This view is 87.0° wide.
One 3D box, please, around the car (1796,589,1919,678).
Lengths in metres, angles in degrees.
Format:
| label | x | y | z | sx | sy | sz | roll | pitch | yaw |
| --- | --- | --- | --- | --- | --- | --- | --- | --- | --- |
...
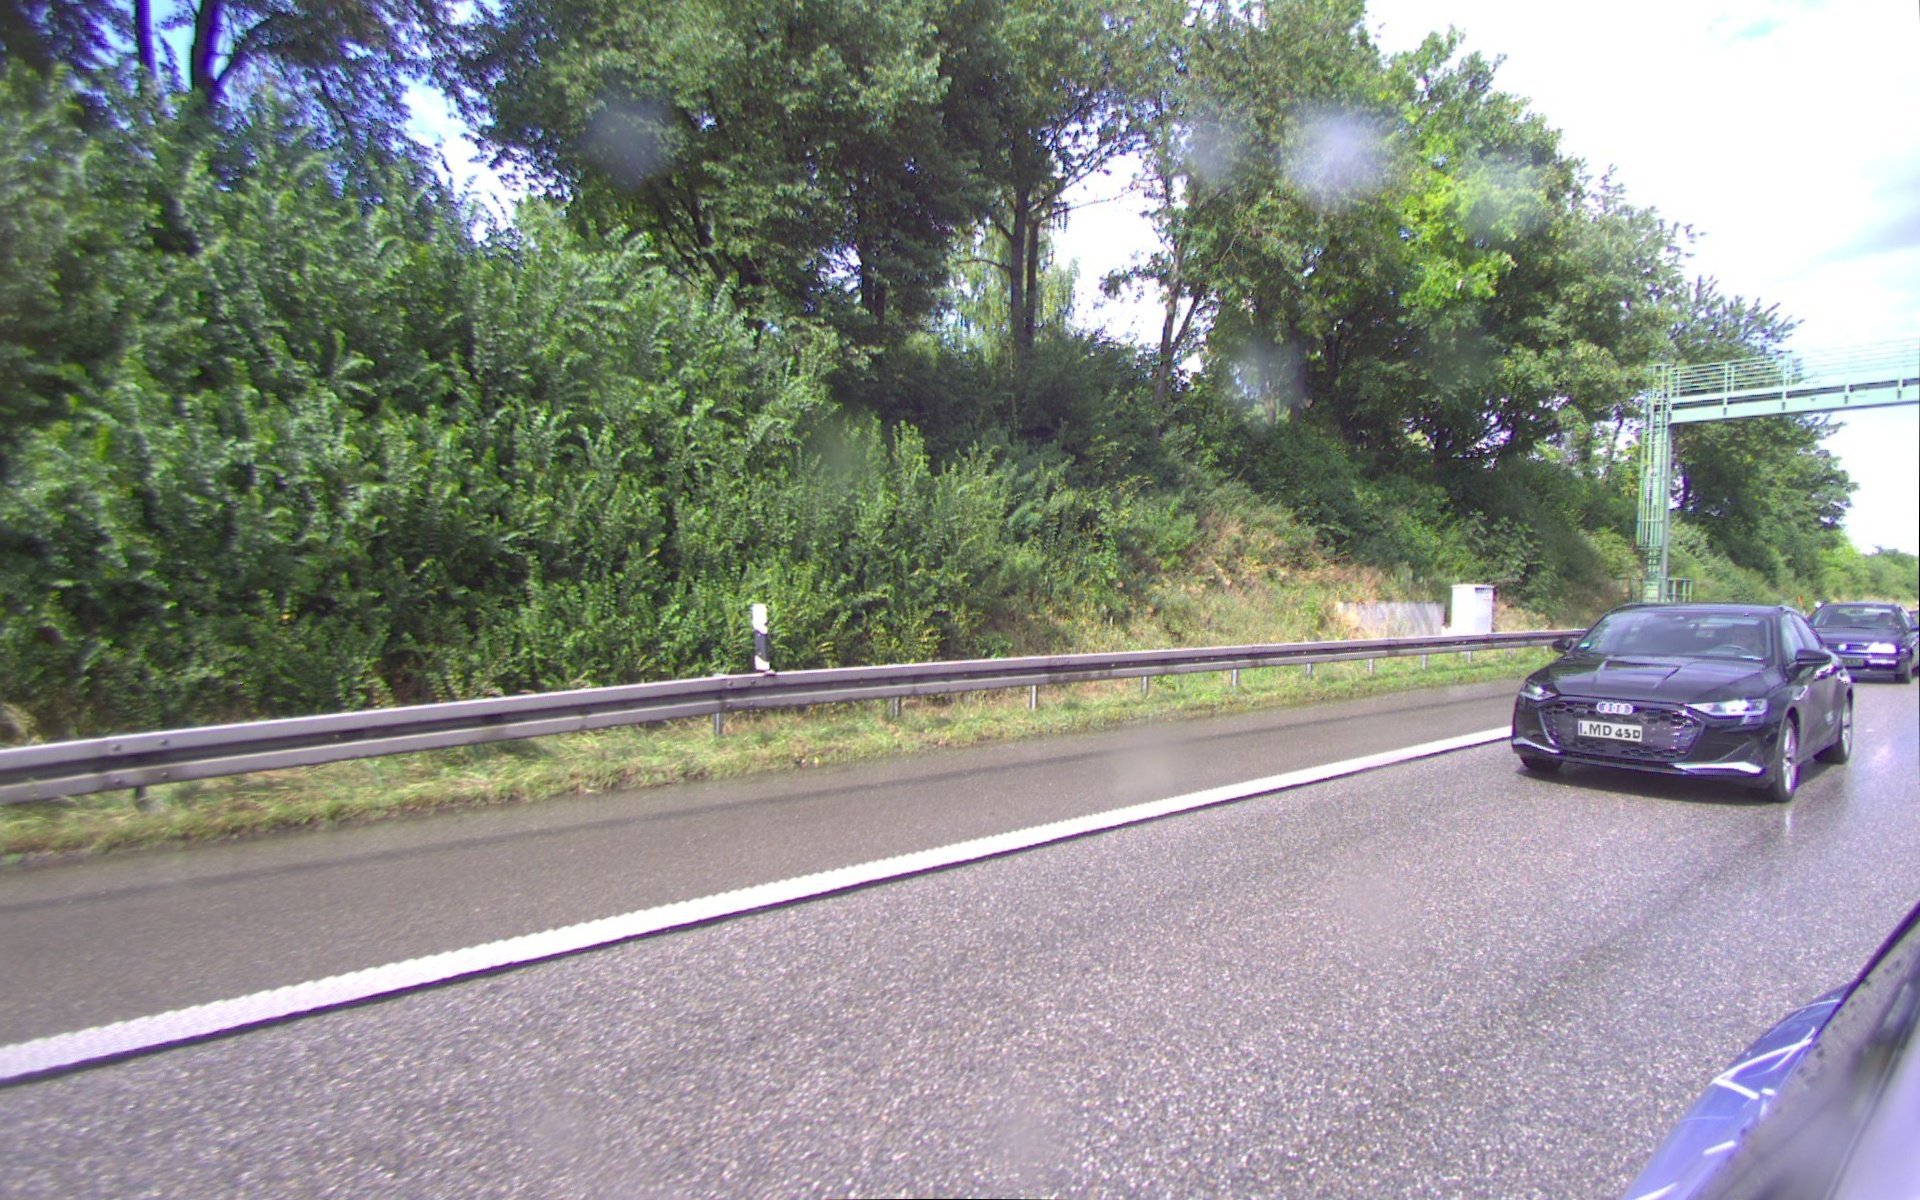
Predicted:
| label | x | y | z | sx | sy | sz | roll | pitch | yaw |
| --- | --- | --- | --- | --- | --- | --- | --- | --- | --- |
| car | 16.812 | 0.544 | 18.667 | 3.681 | 1.474 | 1.653 | 0 | 1 | -42 |

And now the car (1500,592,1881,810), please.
| label | x | y | z | sx | sy | sz | roll | pitch | yaw |
| --- | --- | --- | --- | --- | --- | --- | --- | --- | --- |
| car | 6.432 | 0.643 | 8.712 | 4.292 | 1.414 | 1.758 | 0 | 1 | -41 |
